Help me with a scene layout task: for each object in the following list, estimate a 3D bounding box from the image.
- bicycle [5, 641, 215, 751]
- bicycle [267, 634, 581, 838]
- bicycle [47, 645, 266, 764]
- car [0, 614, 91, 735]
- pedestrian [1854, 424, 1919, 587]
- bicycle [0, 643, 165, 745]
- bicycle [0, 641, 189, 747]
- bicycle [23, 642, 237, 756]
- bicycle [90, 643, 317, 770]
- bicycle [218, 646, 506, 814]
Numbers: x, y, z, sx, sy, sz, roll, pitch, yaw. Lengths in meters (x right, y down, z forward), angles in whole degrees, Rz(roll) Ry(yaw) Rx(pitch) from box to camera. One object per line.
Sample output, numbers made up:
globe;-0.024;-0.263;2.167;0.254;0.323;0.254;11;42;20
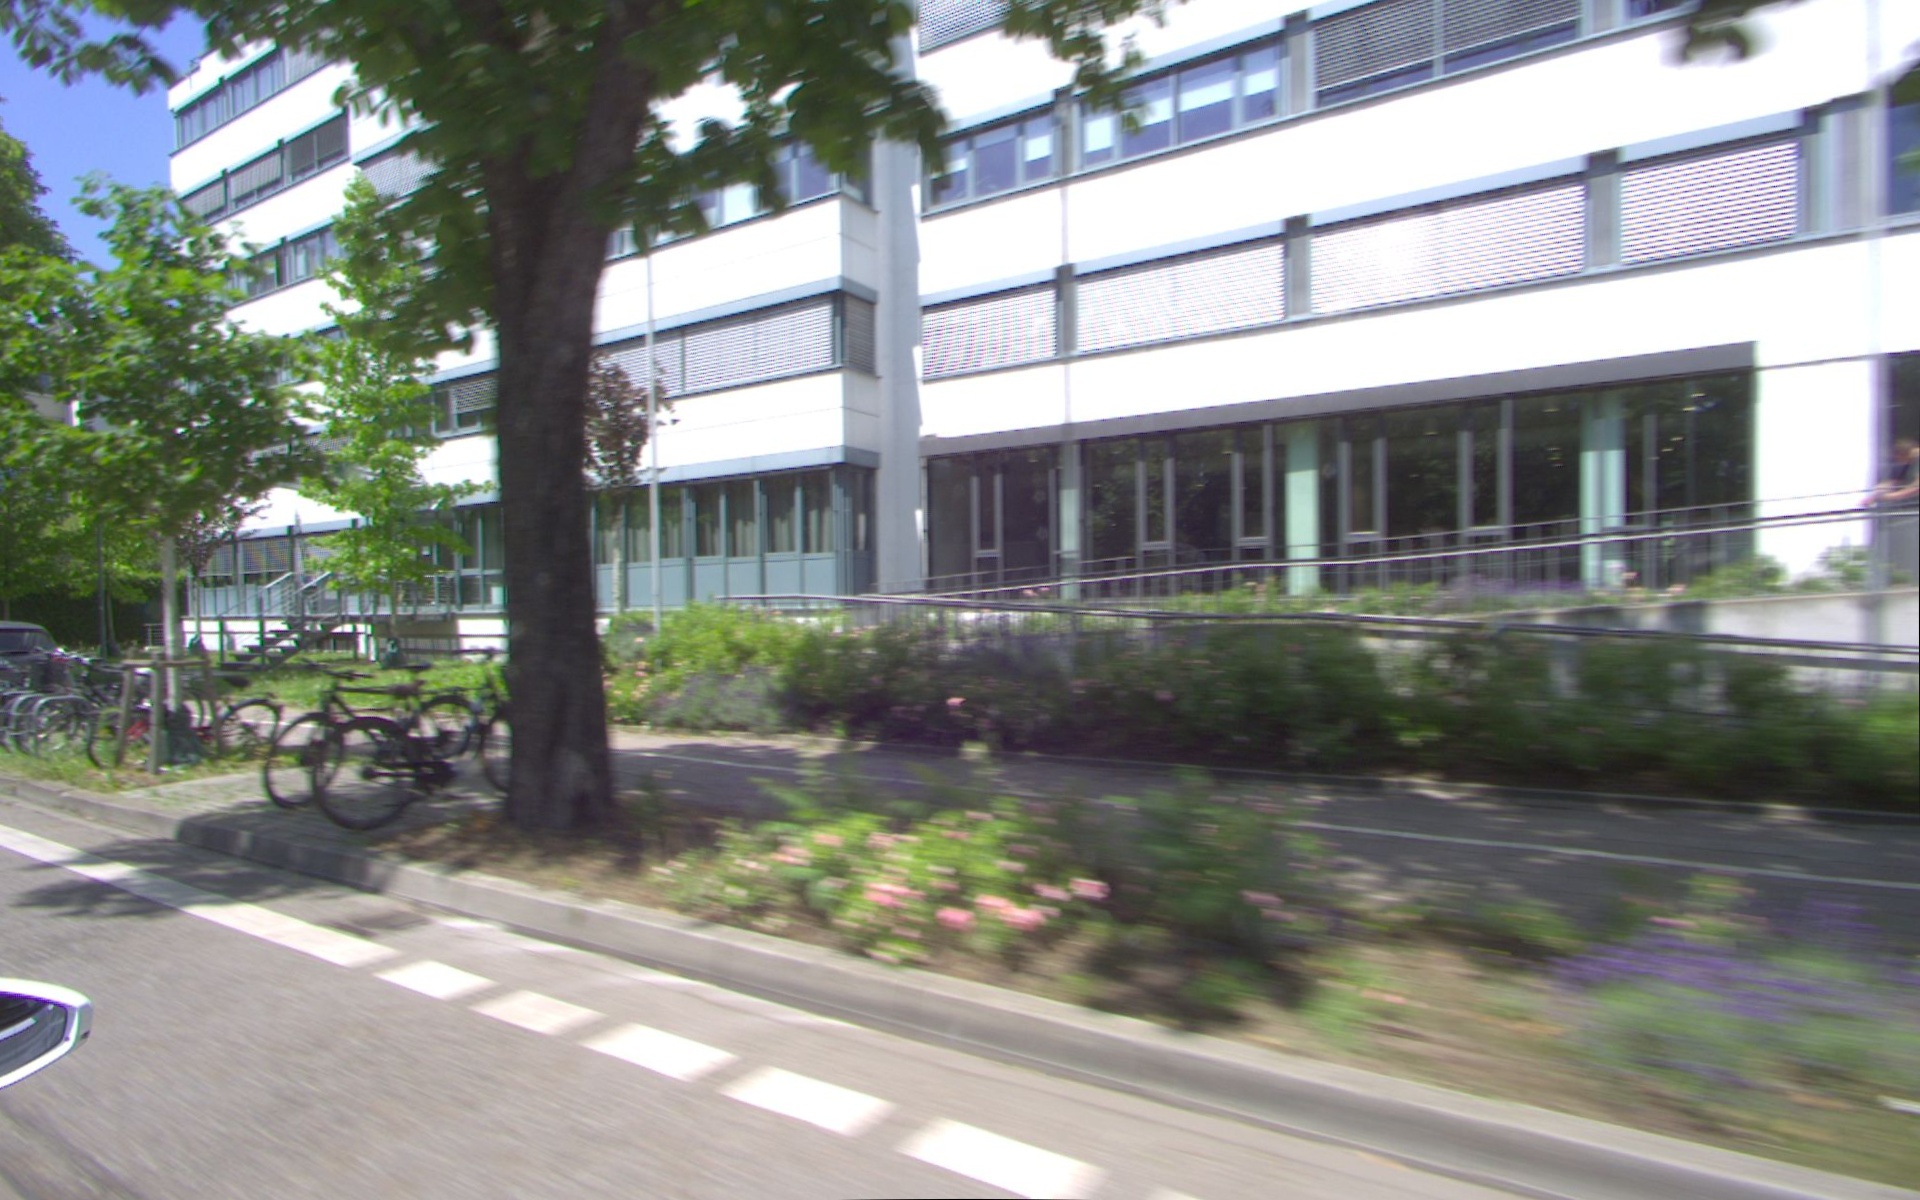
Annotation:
bicycle;-9.684;1.052;11.484;0.540;1.099;1.748;0;0;32
bicycle;-3.755;0.878;7.200;0.684;1.198;1.879;-1;0;32
bicycle;-8.564;1.070;10.750;0.540;1.099;1.748;0;0;32
car;-13.826;0.995;13.879;3.575;1.523;1.684;-1;1;32
pedestrian;10.734;-1.043;11.304;0.796;1.738;0.876;0;-1;31
bicycle;-10.791;1.101;12.125;0.540;1.099;1.748;0;0;32
bicycle;-10.238;1.061;11.802;0.540;1.099;1.748;0;0;32
bicycle;-9.182;1.056;11.153;0.540;1.099;1.748;0;0;32
bicycle;-7.592;1.021;10.136;0.540;1.099;1.748;0;0;32
bicycle;-4.679;0.959;7.961;0.709;1.099;1.820;-2;0;35
